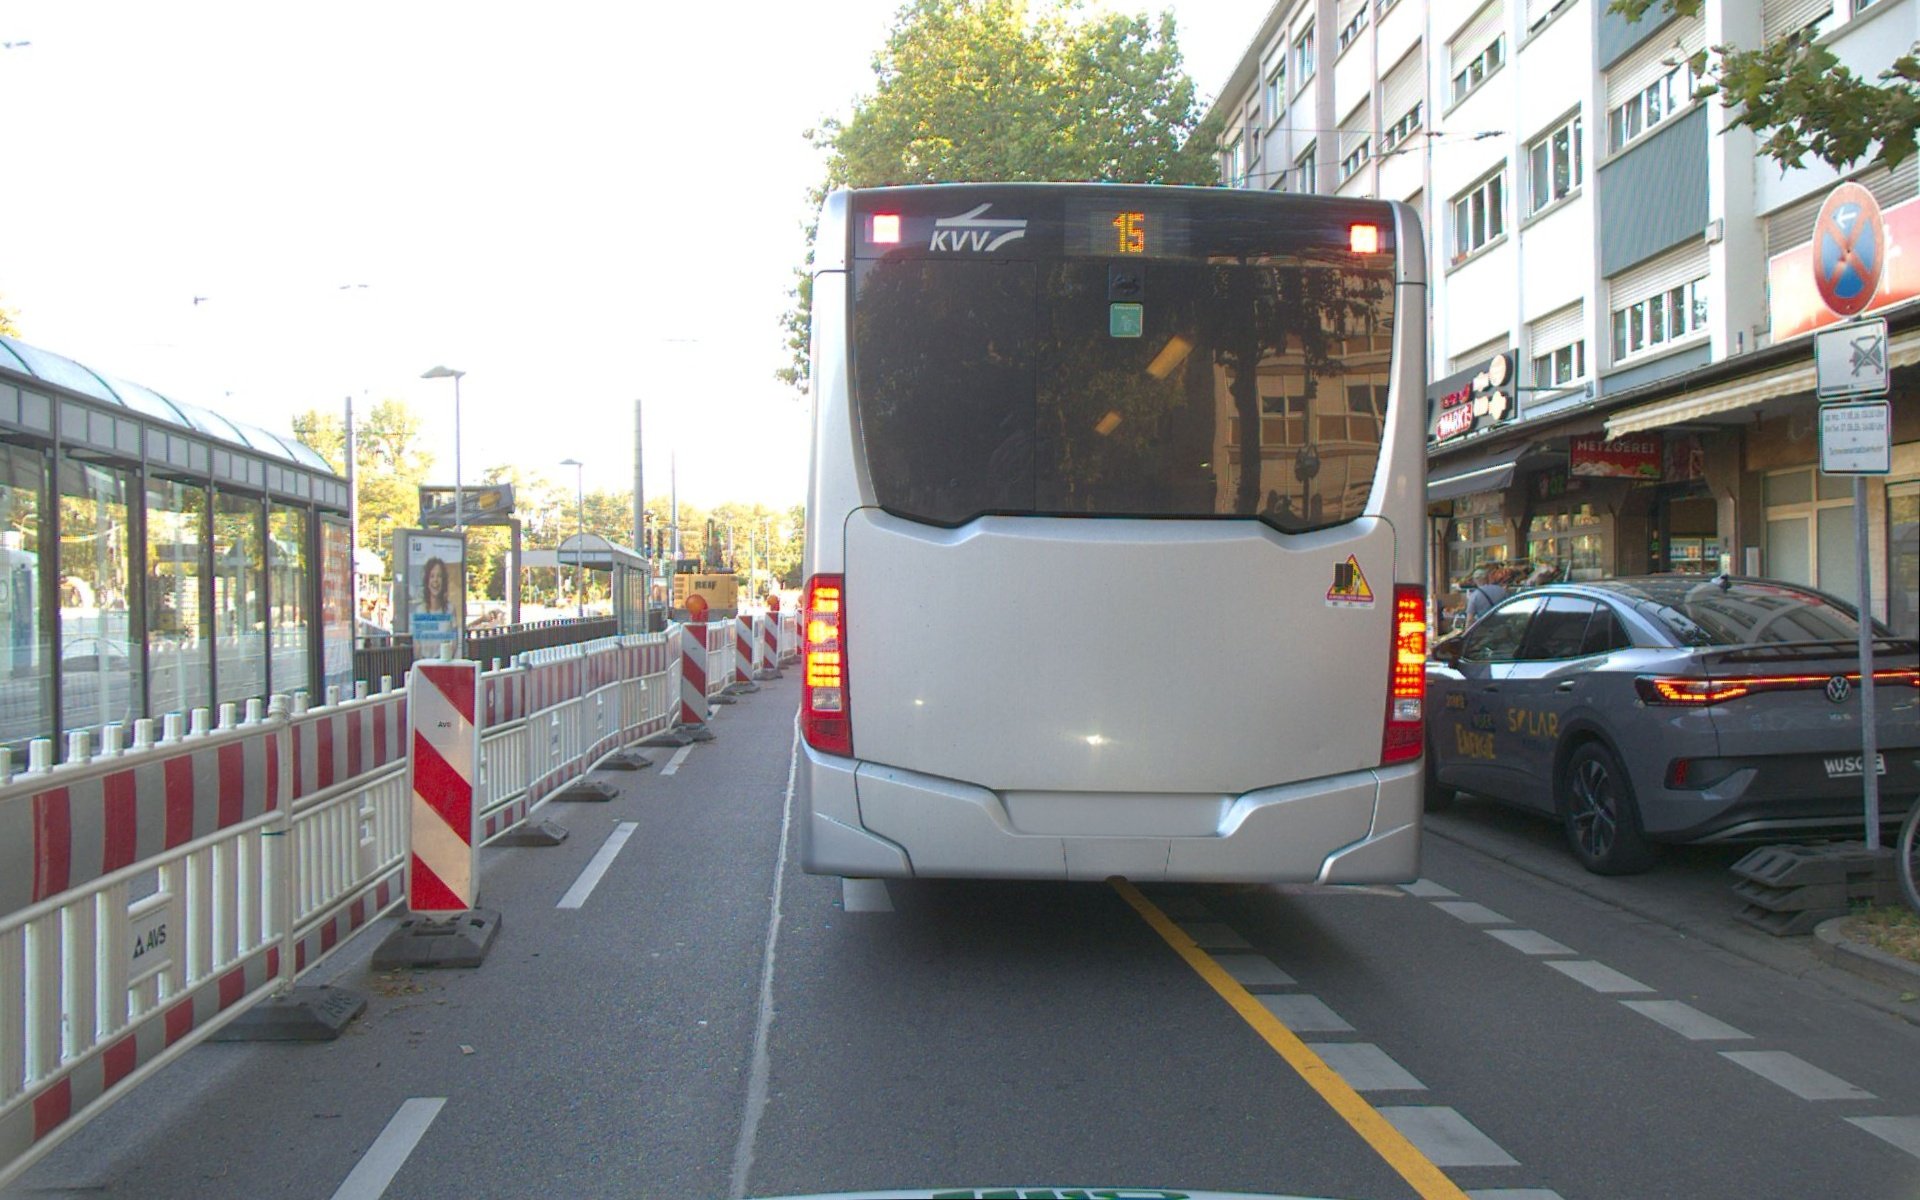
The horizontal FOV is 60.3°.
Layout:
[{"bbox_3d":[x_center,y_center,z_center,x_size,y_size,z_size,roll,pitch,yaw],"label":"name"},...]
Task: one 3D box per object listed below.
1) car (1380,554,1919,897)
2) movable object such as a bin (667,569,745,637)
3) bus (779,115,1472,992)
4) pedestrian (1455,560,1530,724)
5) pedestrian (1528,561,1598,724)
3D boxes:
[{"bbox_3d":[4.228,0.606,10.350,1.706,1.625,4.294,-3,0,-5],"label":"car"},{"bbox_3d":[-9.705,0.098,63.513,2.752,2.505,3.995,0,0,-6],"label":"movable object such as a bin"},{"bbox_3d":[0.574,-0.186,11.251,2.555,3.225,10.290,0,0,-1],"label":"bus"},{"bbox_3d":[6.770,0.523,21.039,0.677,2.049,0.696,-1,0,-4],"label":"pedestrian"},{"bbox_3d":[7.714,0.536,21.180,0.600,2.049,0.696,-1,0,-2],"label":"pedestrian"}]
